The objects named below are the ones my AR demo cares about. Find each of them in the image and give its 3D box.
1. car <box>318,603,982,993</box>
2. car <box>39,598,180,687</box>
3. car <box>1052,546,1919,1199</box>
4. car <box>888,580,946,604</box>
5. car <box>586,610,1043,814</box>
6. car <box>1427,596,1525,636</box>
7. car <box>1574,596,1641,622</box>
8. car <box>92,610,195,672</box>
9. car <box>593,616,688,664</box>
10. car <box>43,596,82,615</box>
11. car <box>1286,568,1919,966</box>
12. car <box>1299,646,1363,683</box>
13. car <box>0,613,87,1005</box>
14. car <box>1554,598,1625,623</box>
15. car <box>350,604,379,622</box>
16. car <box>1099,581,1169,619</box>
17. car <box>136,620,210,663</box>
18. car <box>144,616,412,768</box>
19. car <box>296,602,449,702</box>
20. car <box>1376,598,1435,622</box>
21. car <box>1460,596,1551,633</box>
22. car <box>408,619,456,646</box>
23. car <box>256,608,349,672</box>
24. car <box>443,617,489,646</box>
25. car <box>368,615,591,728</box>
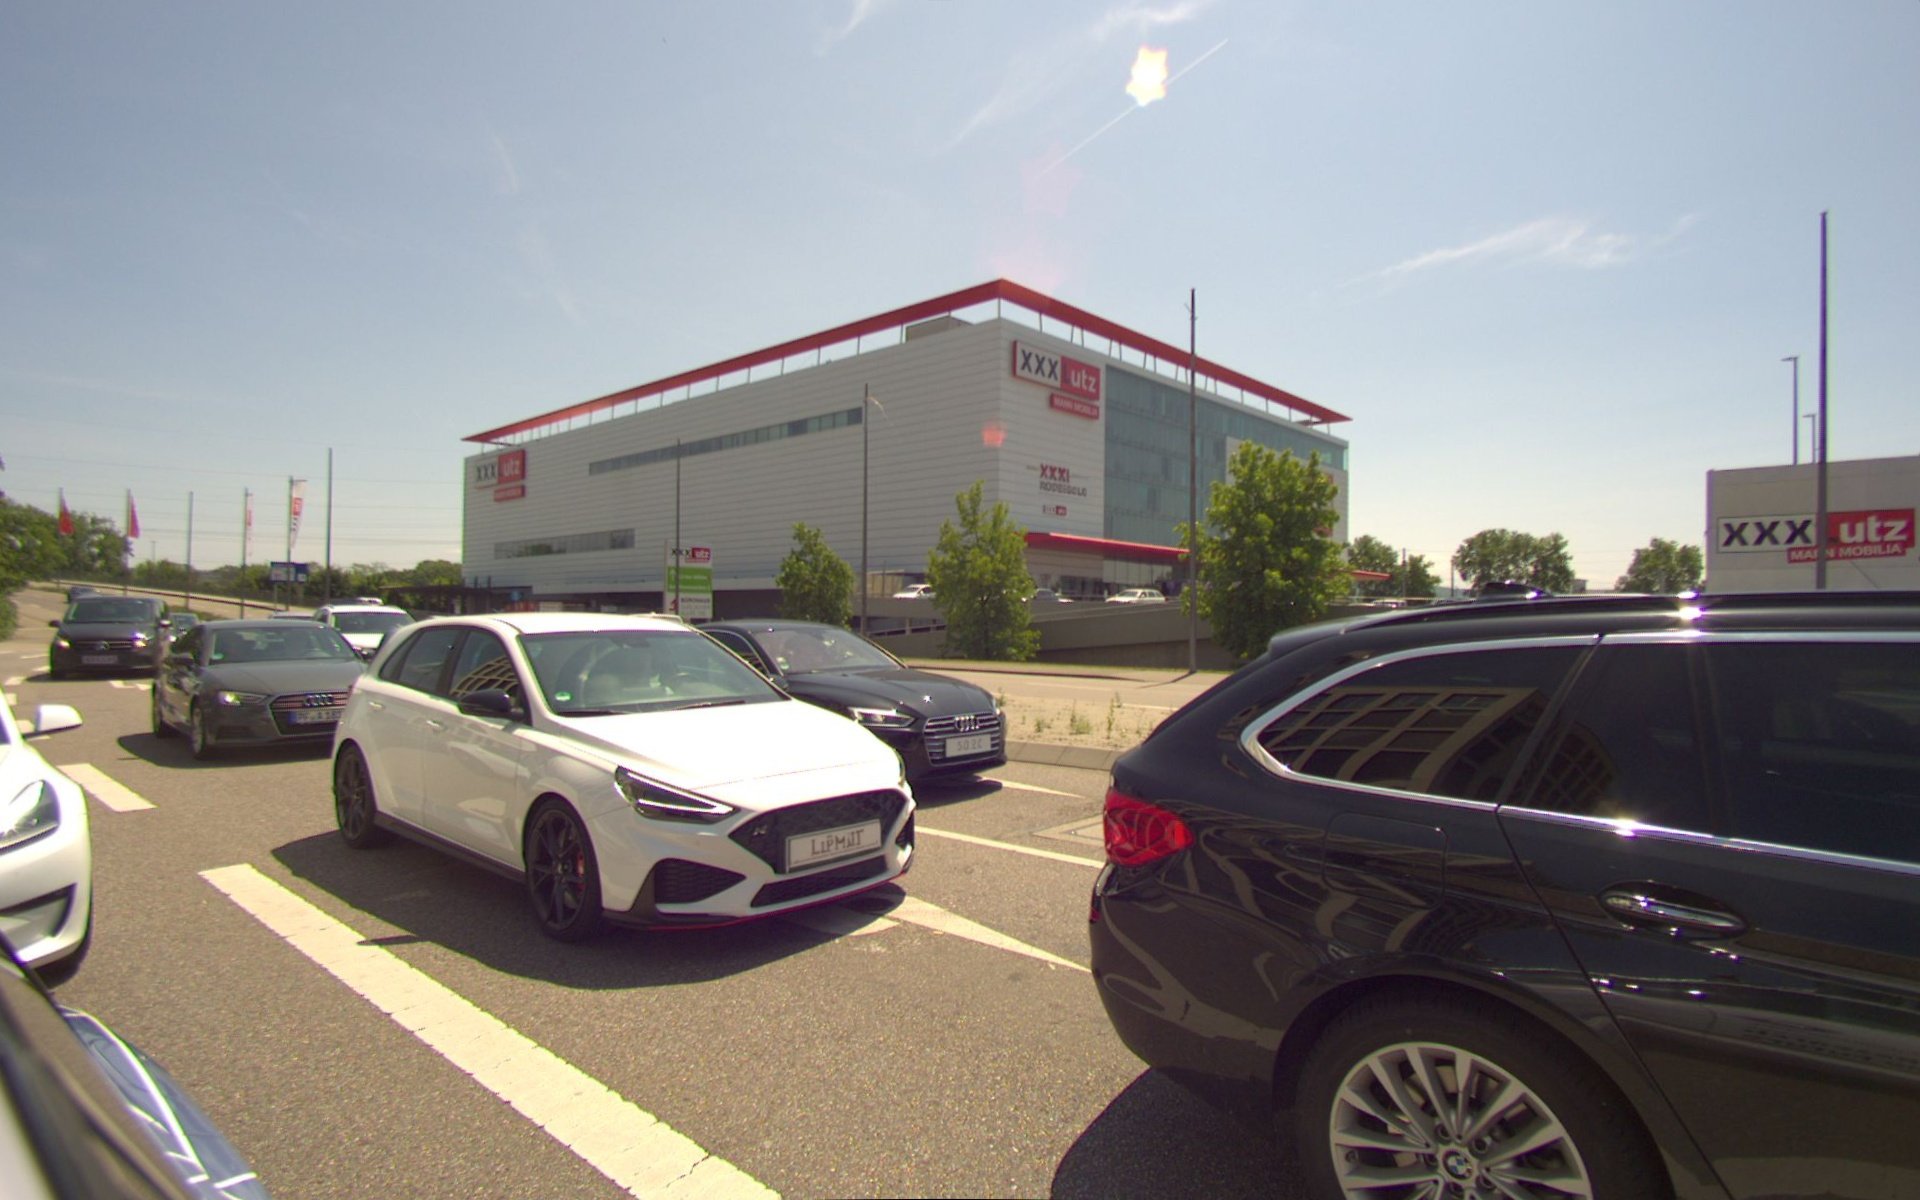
[{"bbox_3d":[-1.998,0.762,5.791,4.068,1.447,1.769,-1,-1,41],"label":"car"},{"bbox_3d":[-19.648,0.930,23.586,1.865,1.835,4.850,1,-1,-33],"label":"car"},{"bbox_3d":[2.530,0.648,1.729,4.553,1.451,1.779,-1,-1,40],"label":"car"},{"bbox_3d":[-2.897,-0.539,69.240,1.717,1.519,3.944,-1,-2,42],"label":"car"},{"bbox_3d":[-1.529,0.846,9.217,4.466,1.415,1.654,-2,-1,42],"label":"car"},{"bbox_3d":[27.121,0.849,53.246,4.323,2.029,1.974,0,-2,38],"label":"car"},{"bbox_3d":[52.139,0.735,81.539,4.328,2.029,1.972,0,-2,42],"label":"car"},{"bbox_3d":[-23.474,1.144,29.237,1.784,1.652,4.011,1,-2,-32],"label":"car"},{"bbox_3d":[-12.301,1.507,38.804,1.840,1.736,4.045,2,-2,-44],"label":"car"},{"bbox_3d":[-89.633,0.584,101.030,3.983,1.829,1.661,0,-2,29],"label":"car"},{"bbox_3d":[3.740,0.605,4.515,4.009,1.433,1.674,-2,-1,43],"label":"car"},{"bbox_3d":[19.063,3.280,51.873,1.997,1.719,3.949,-1,-2,38],"label":"car"},{"bbox_3d":[-5.596,0.804,4.670,4.282,1.447,1.800,-1,0,41],"label":"car"},{"bbox_3d":[45.734,0.733,73.570,4.134,1.754,1.759,0,-2,42],"label":"car"},{"bbox_3d":[-79.515,1.751,135.109,4.815,2.300,2.162,-1,-2,44],"label":"car"},{"bbox_3d":[9.894,0.031,57.352,4.407,2.029,1.680,2,-2,-44],"label":"car"},{"bbox_3d":[-28.220,1.453,36.388,1.582,1.451,3.744,1,-2,-30],"label":"car"},{"bbox_3d":[-7.759,0.892,11.354,1.745,1.393,4.092,2,-2,-45],"label":"car"},{"bbox_3d":[-11.271,0.903,19.272,1.743,1.653,4.498,0,0,-40],"label":"car"},{"bbox_3d":[36.286,0.854,82.442,4.000,1.915,1.972,-1,-2,43],"label":"car"},{"bbox_3d":[30.836,0.824,57.237,4.323,2.029,1.975,0,-2,38],"label":"car"},{"bbox_3d":[-35.456,2.204,67.935,1.840,1.736,4.047,2,-3,-43],"label":"car"},{"bbox_3d":[-16.460,0.964,25.263,1.742,1.433,3.908,-1,-1,-36],"label":"car"},{"bbox_3d":[-34.048,2.166,69.690,1.792,1.918,3.732,2,-2,-43],"label":"car"},{"bbox_3d":[-7.265,0.963,15.066,1.744,1.413,4.435,0,-1,-43],"label":"car"}]
